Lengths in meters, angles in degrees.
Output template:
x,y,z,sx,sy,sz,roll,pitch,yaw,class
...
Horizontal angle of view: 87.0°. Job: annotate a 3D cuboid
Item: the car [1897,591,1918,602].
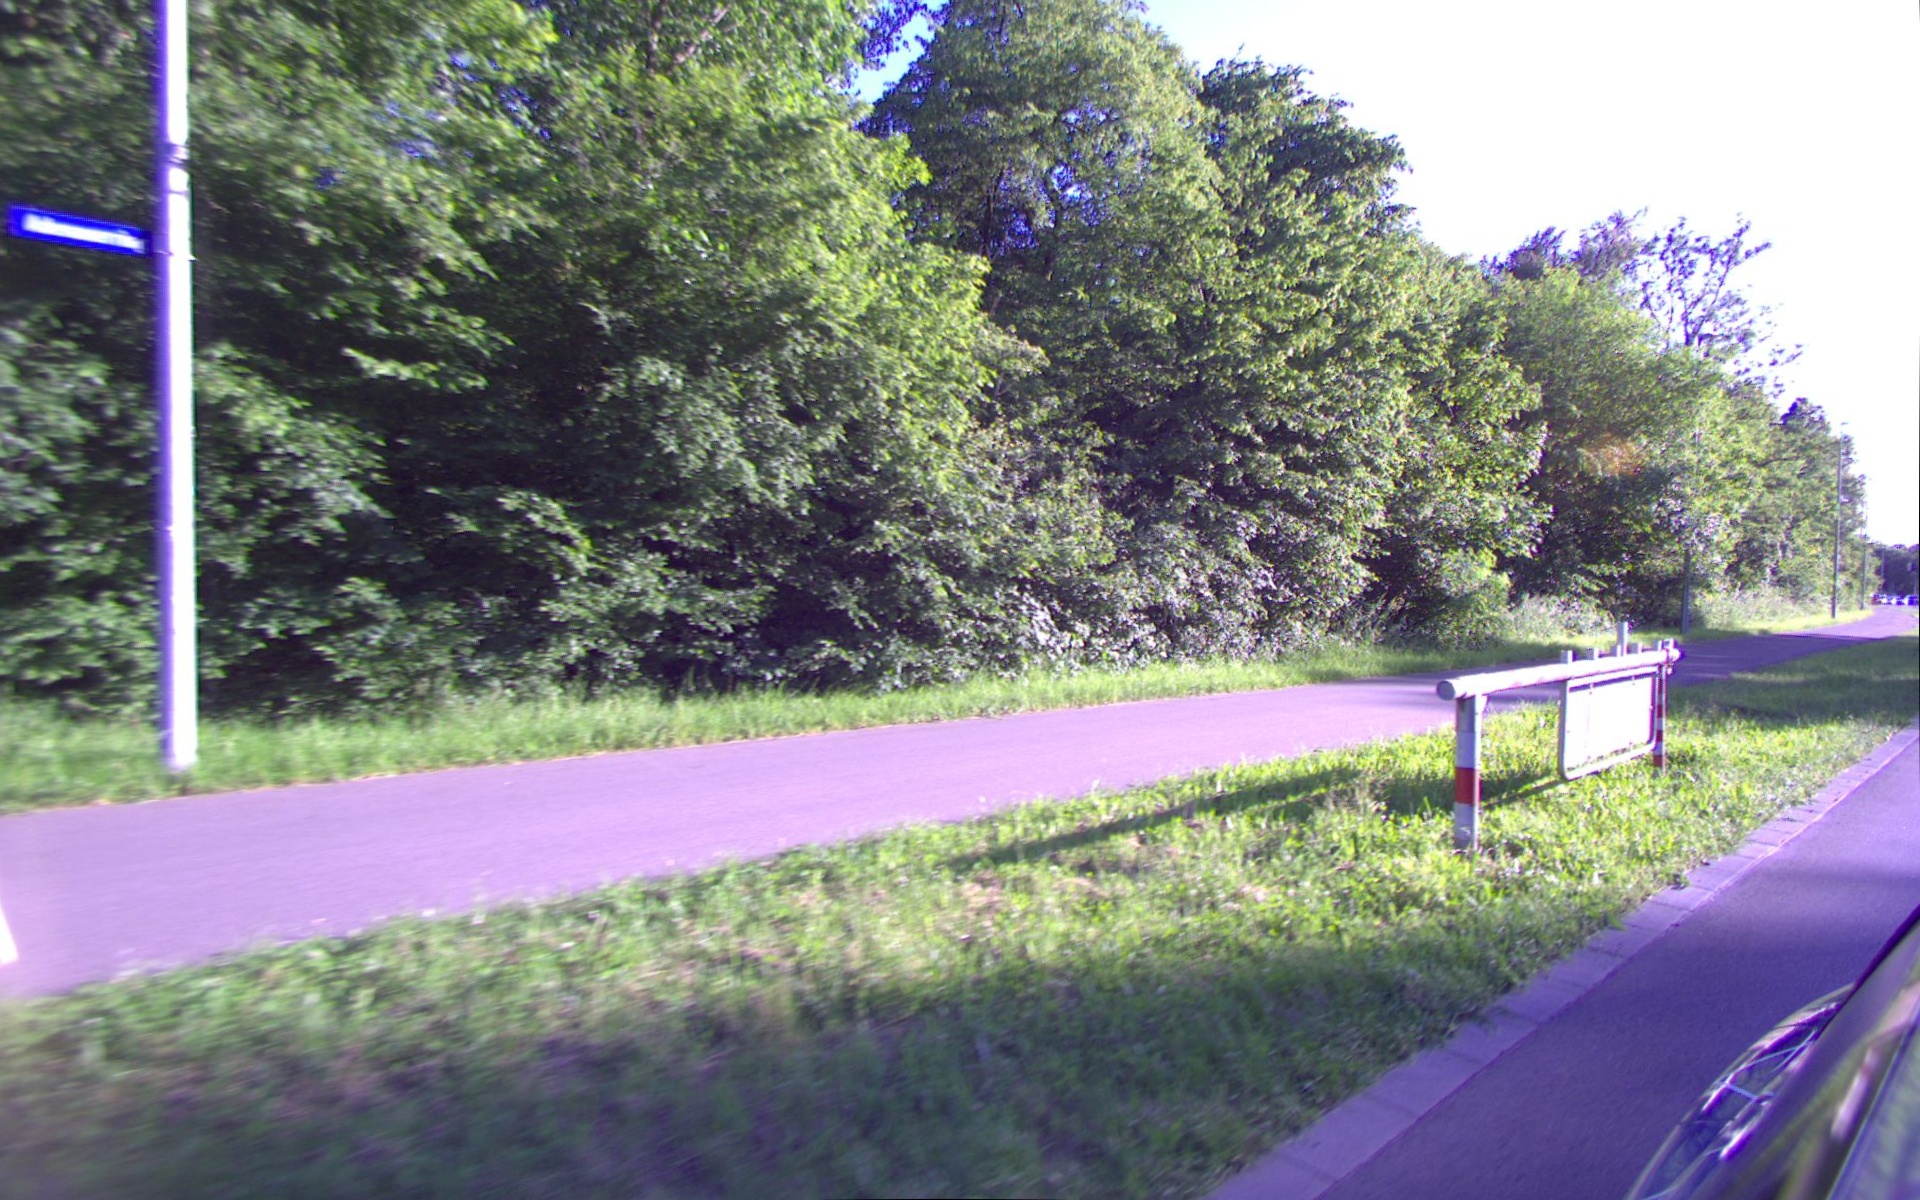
x,y,z,sx,sy,sz,roll,pitch,yaw,class
146.871,-0.541,156.917,1.989,1.538,3.947,1,2,37,car
